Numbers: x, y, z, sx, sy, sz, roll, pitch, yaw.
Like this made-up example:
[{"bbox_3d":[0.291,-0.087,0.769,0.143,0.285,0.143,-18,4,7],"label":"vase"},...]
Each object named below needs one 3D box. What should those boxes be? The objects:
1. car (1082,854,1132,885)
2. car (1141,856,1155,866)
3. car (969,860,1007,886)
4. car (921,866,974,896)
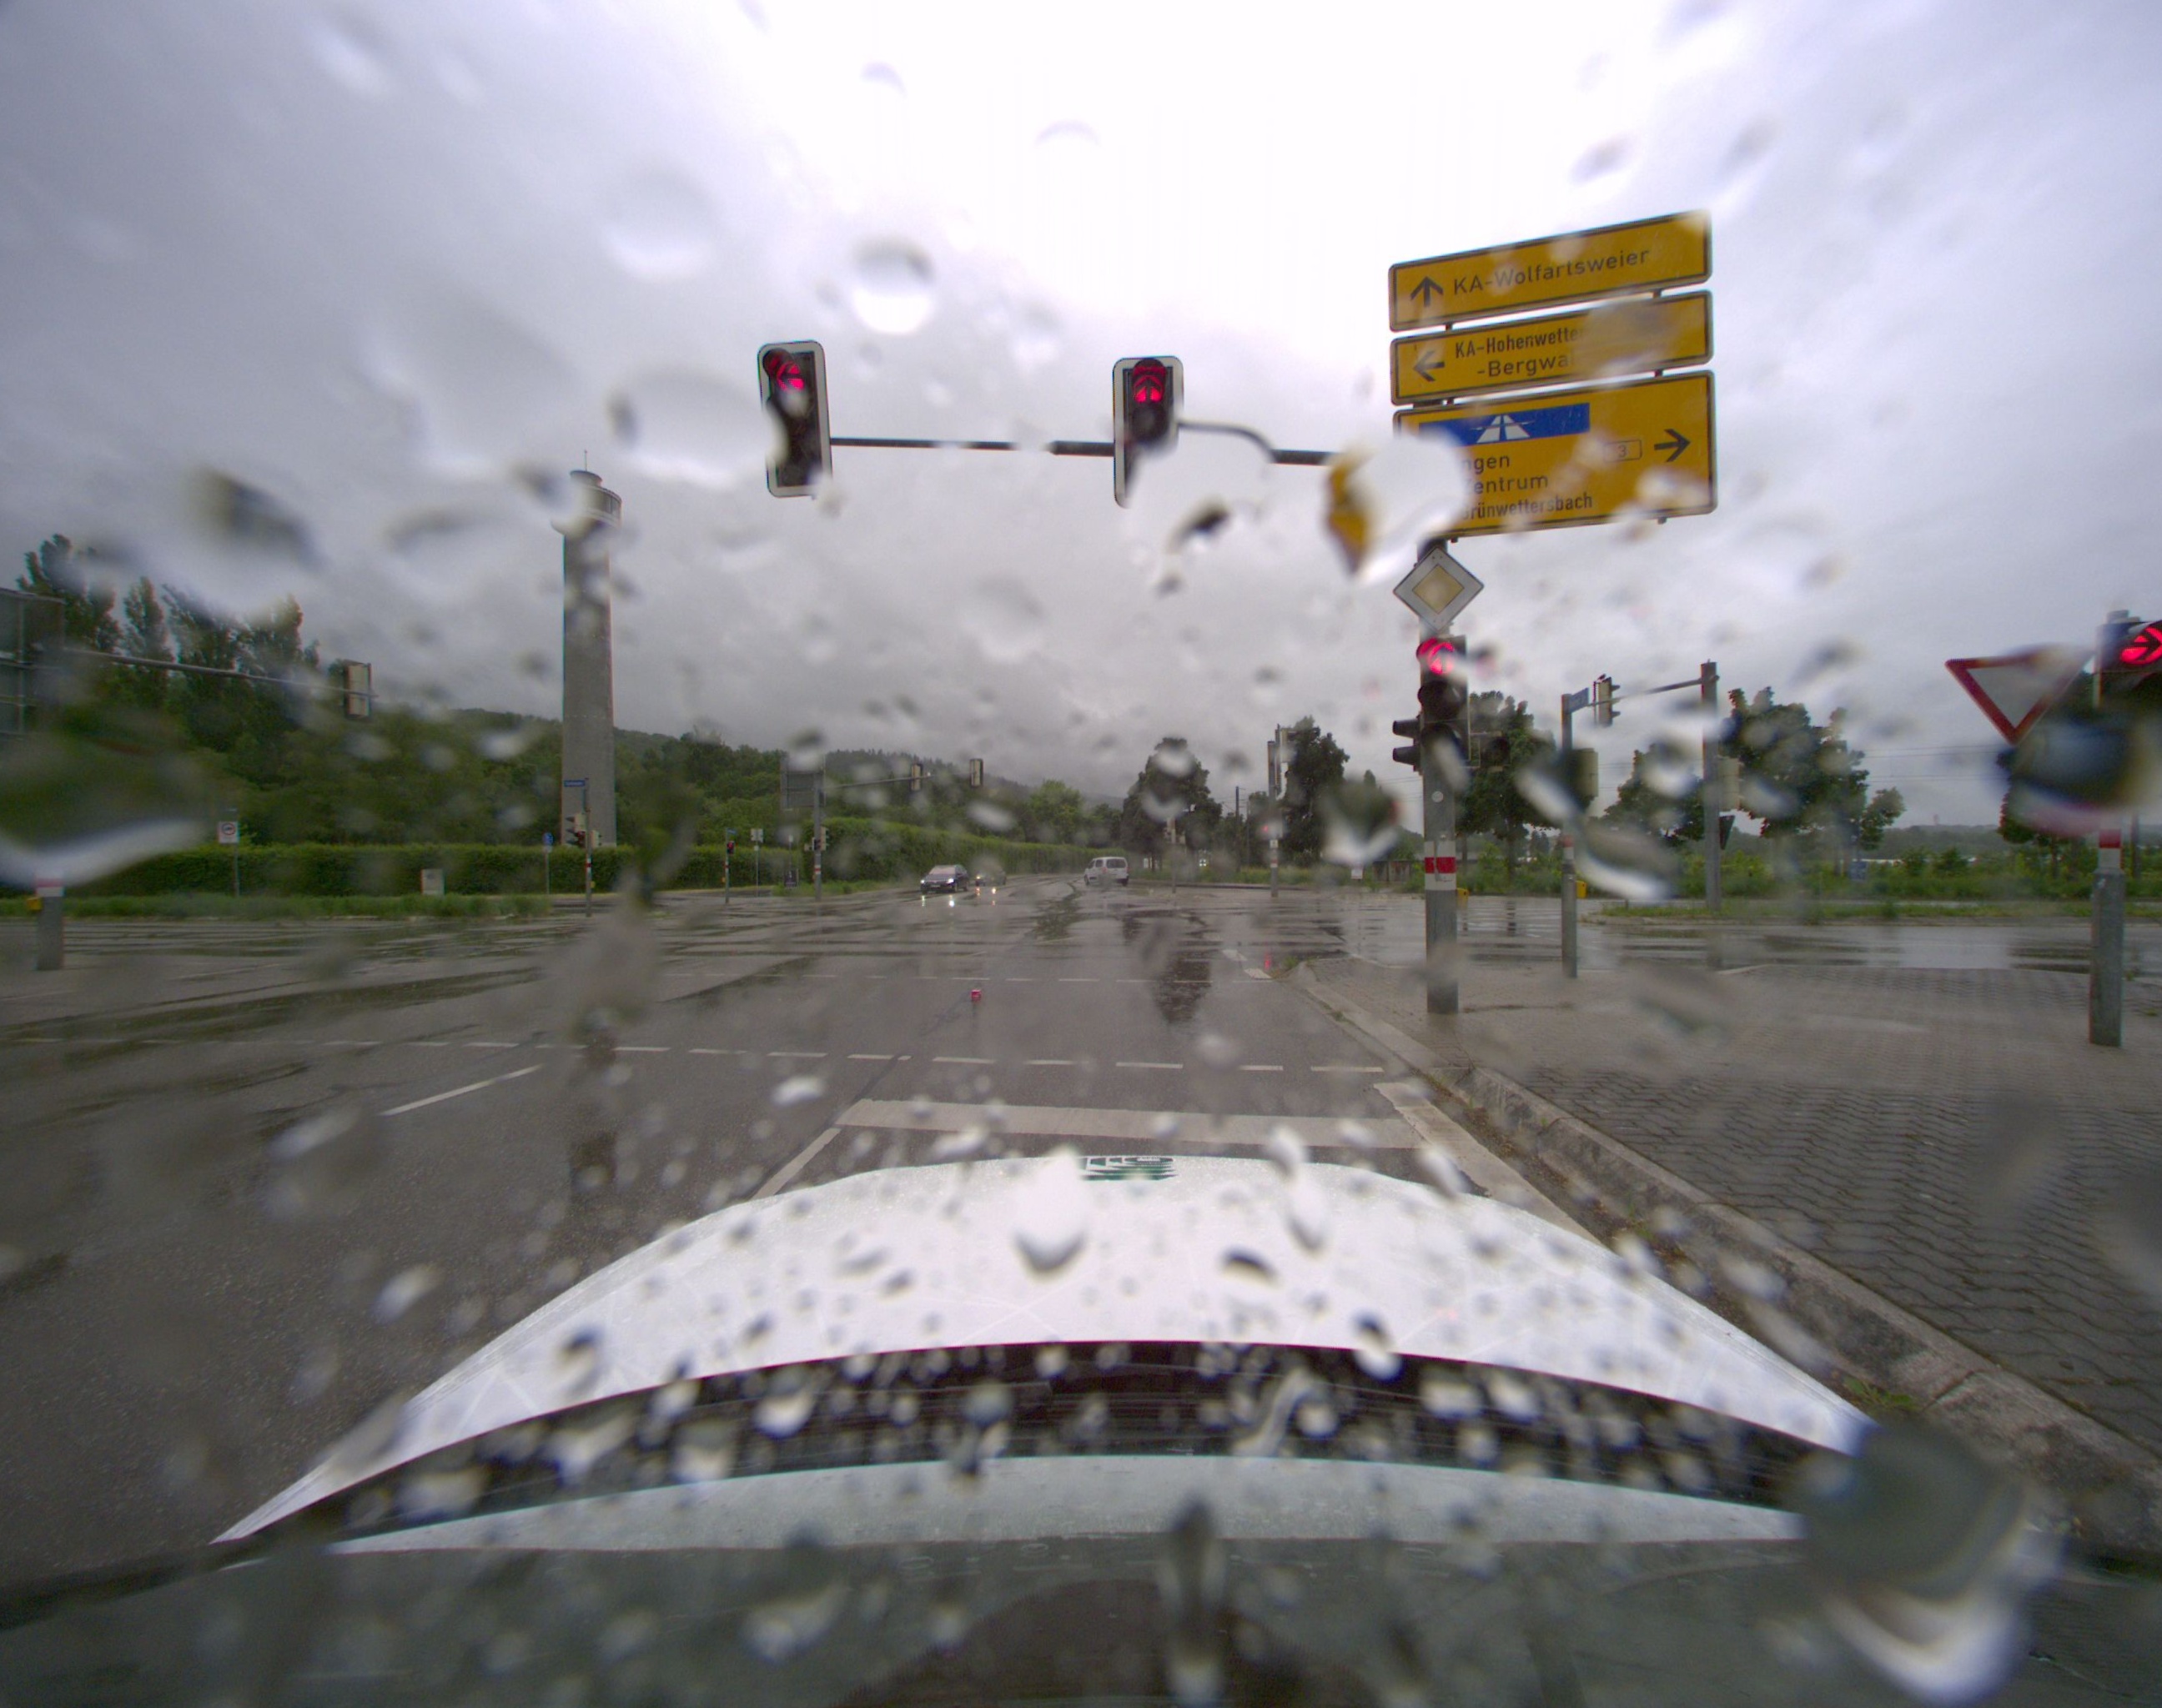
[{"bbox_3d":[1.623,0.963,52.338,1.959,1.904,4.094,-1,0,-18],"label":"car"},{"bbox_3d":[12.971,1.422,158.149,1.917,1.890,4.079,-1,0,16],"label":"car"},{"bbox_3d":[-6.530,1.294,57.573,2.029,1.708,4.067,-1,0,2],"label":"car"},{"bbox_3d":[-7.141,1.397,43.881,1.700,1.466,4.460,-1,0,6],"label":"car"}]
